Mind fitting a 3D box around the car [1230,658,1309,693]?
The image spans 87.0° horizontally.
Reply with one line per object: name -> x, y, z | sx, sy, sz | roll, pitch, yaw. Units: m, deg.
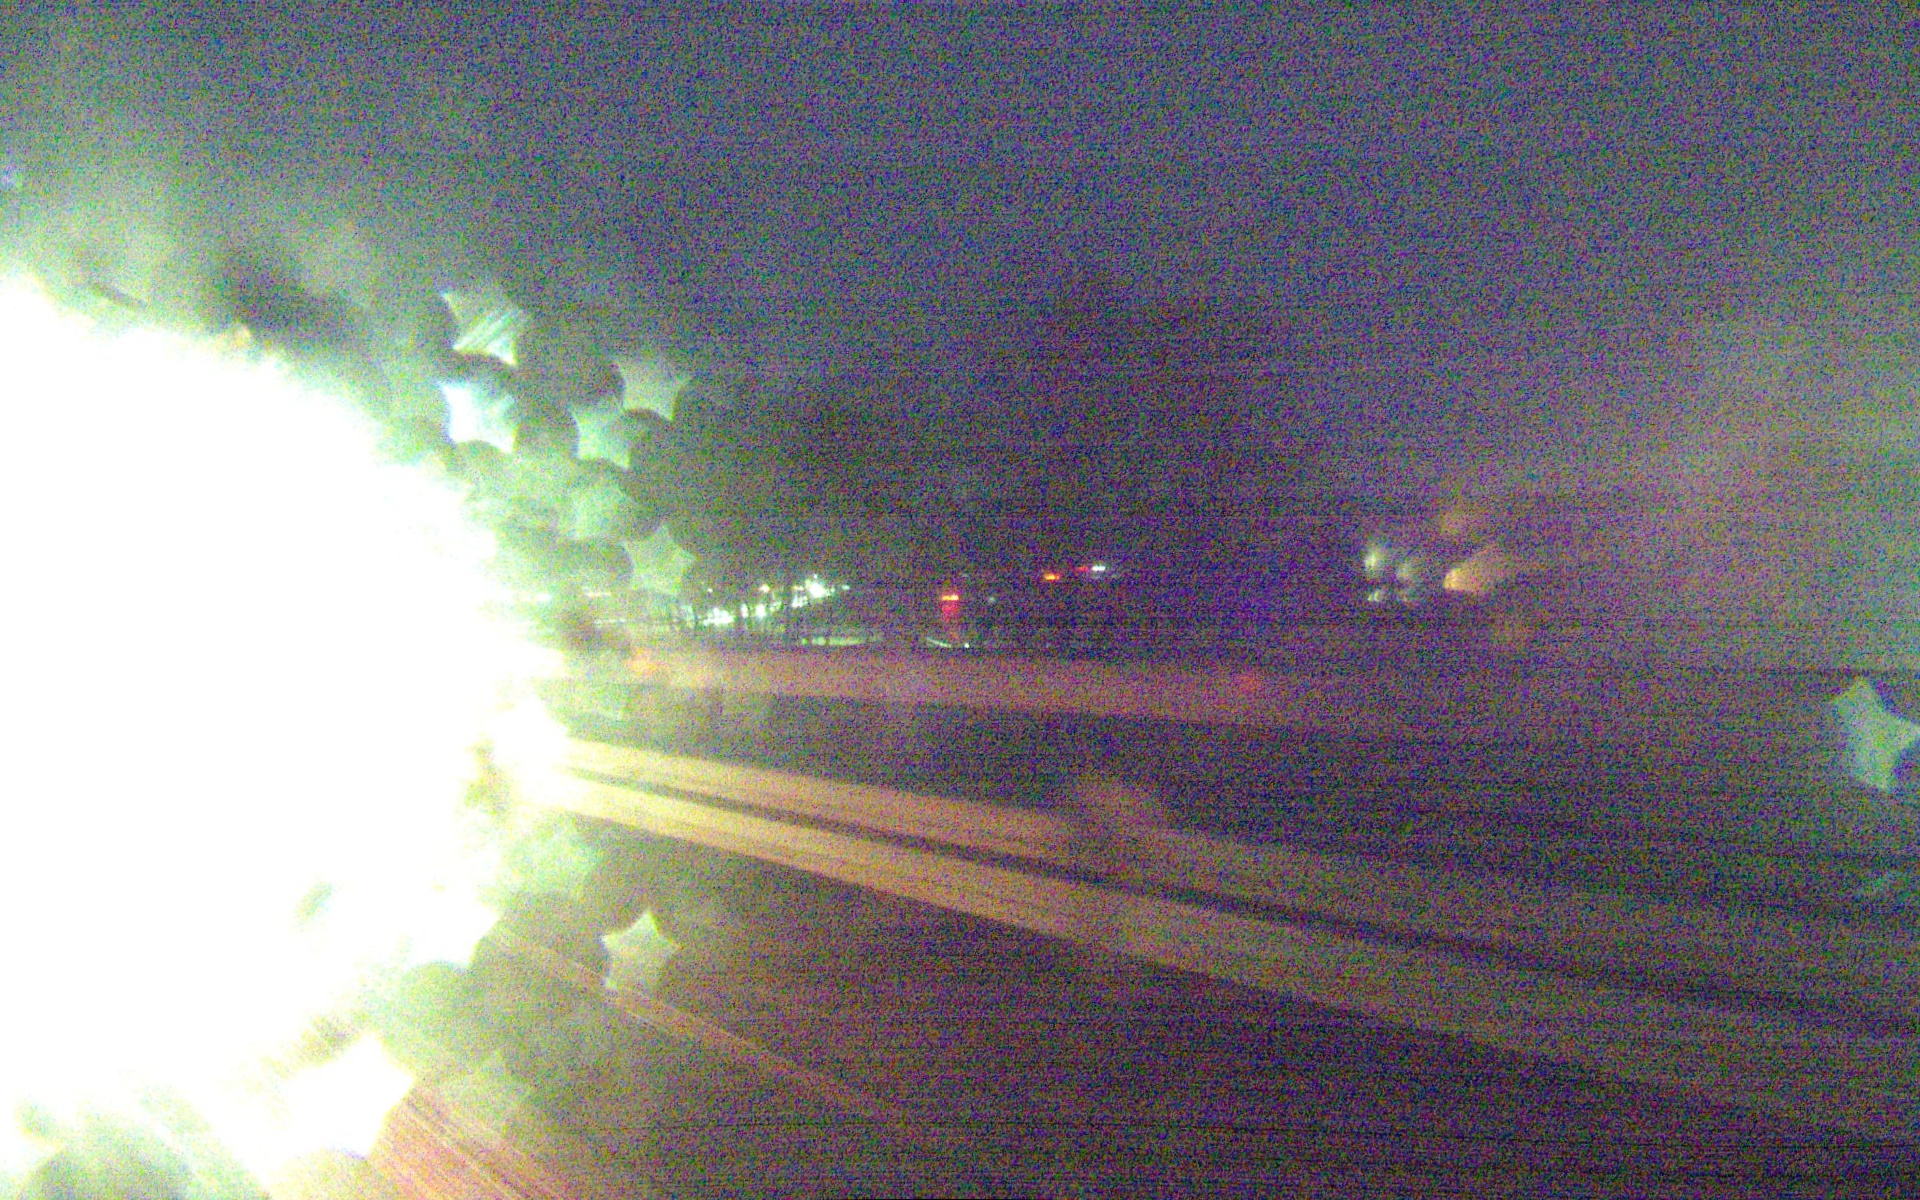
car -> 18.967, 4.588, 62.043 | 4.237, 1.765, 1.899 | 2, 0, 36

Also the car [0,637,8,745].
car -> -12.799, 1.169, 12.071 | 1.660, 1.462, 3.650 | 2, -3, -37

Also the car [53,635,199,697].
car -> -19.911, 1.532, 24.354 | 1.731, 1.322, 4.098 | 0, -2, -25
